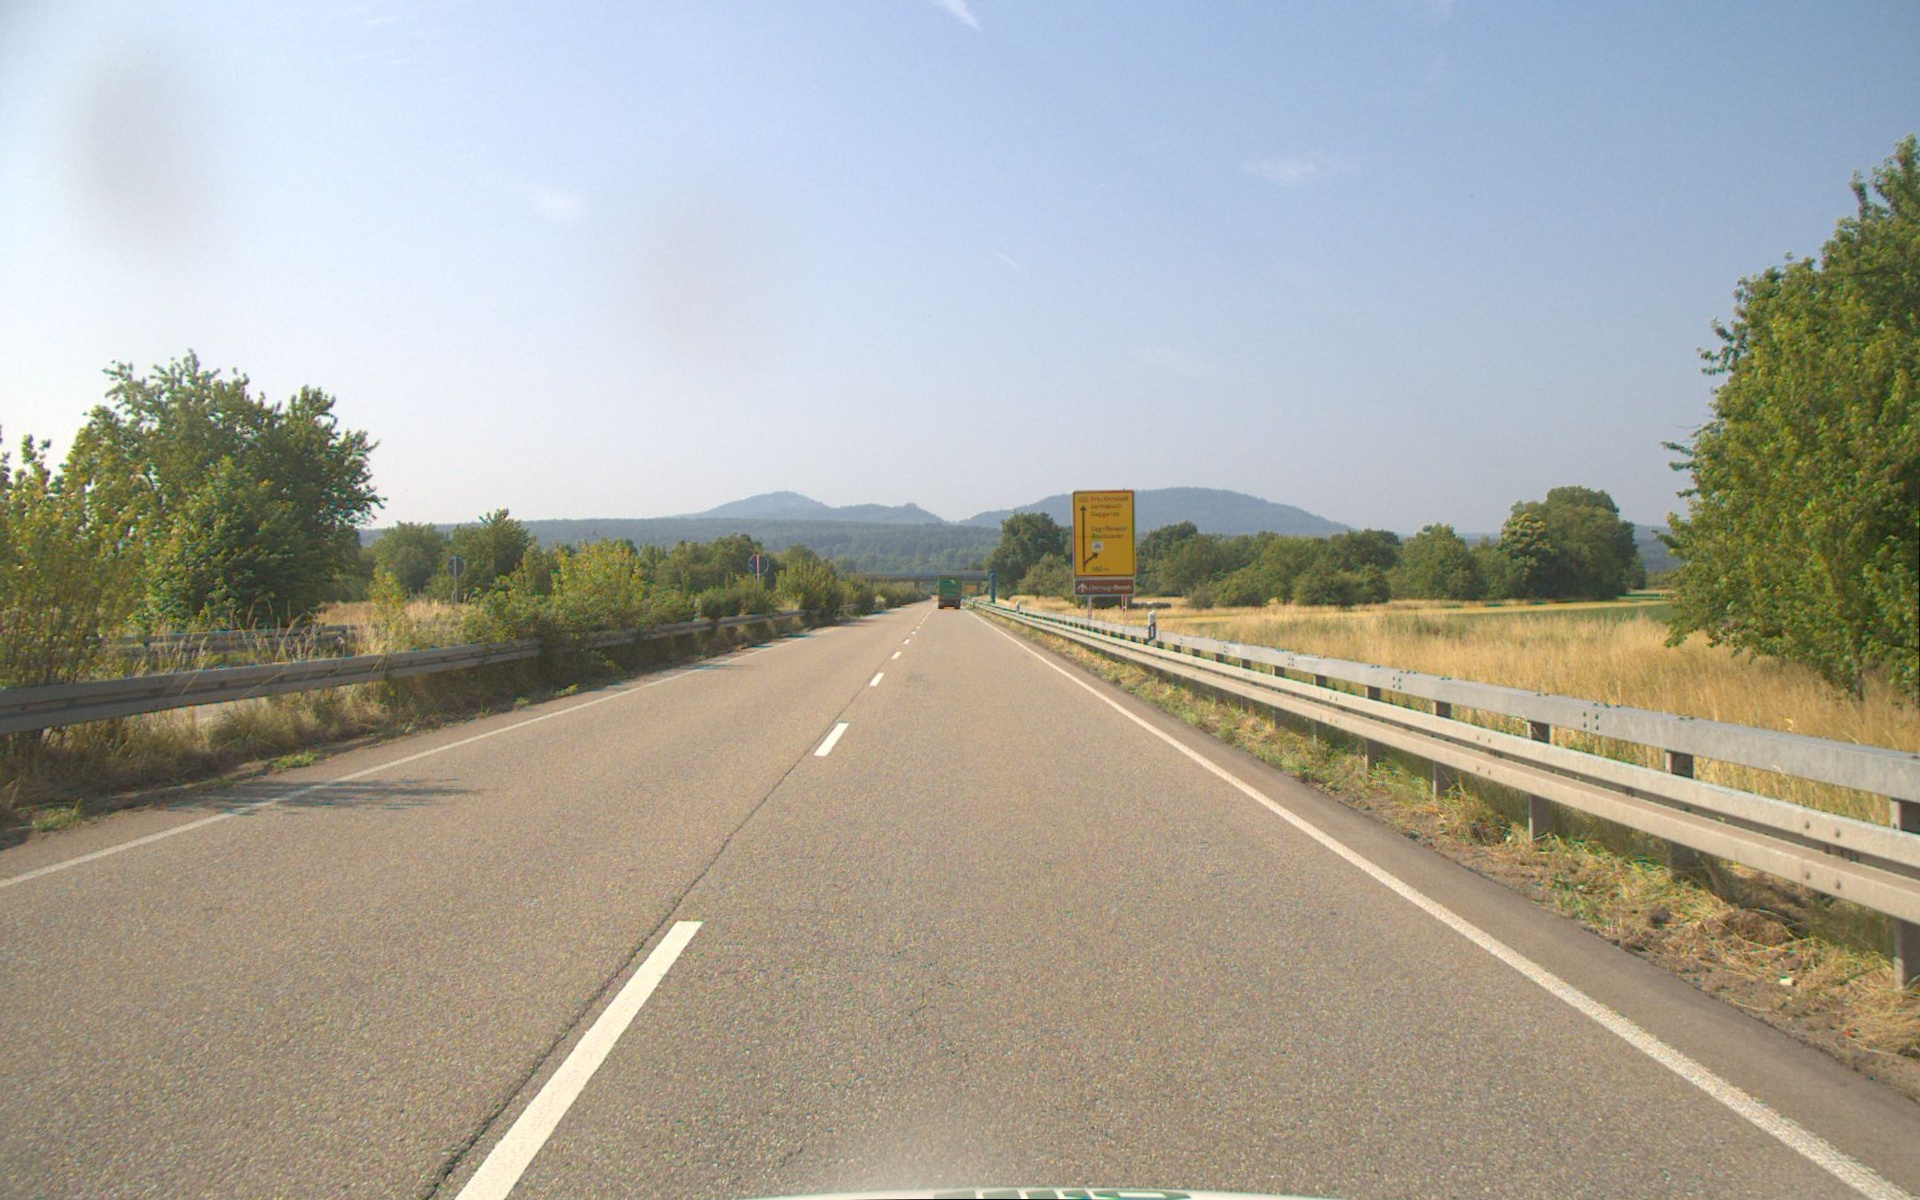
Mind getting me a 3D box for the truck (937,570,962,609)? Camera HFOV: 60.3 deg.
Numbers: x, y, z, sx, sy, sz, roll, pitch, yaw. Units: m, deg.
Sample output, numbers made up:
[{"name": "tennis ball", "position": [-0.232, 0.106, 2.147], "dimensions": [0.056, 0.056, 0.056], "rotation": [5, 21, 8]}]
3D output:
[{"name": "truck", "position": [-1.155, -1.236, 183.953], "dimensions": [2.666, 4.034, 10.416], "rotation": [1, 1, 0]}]
